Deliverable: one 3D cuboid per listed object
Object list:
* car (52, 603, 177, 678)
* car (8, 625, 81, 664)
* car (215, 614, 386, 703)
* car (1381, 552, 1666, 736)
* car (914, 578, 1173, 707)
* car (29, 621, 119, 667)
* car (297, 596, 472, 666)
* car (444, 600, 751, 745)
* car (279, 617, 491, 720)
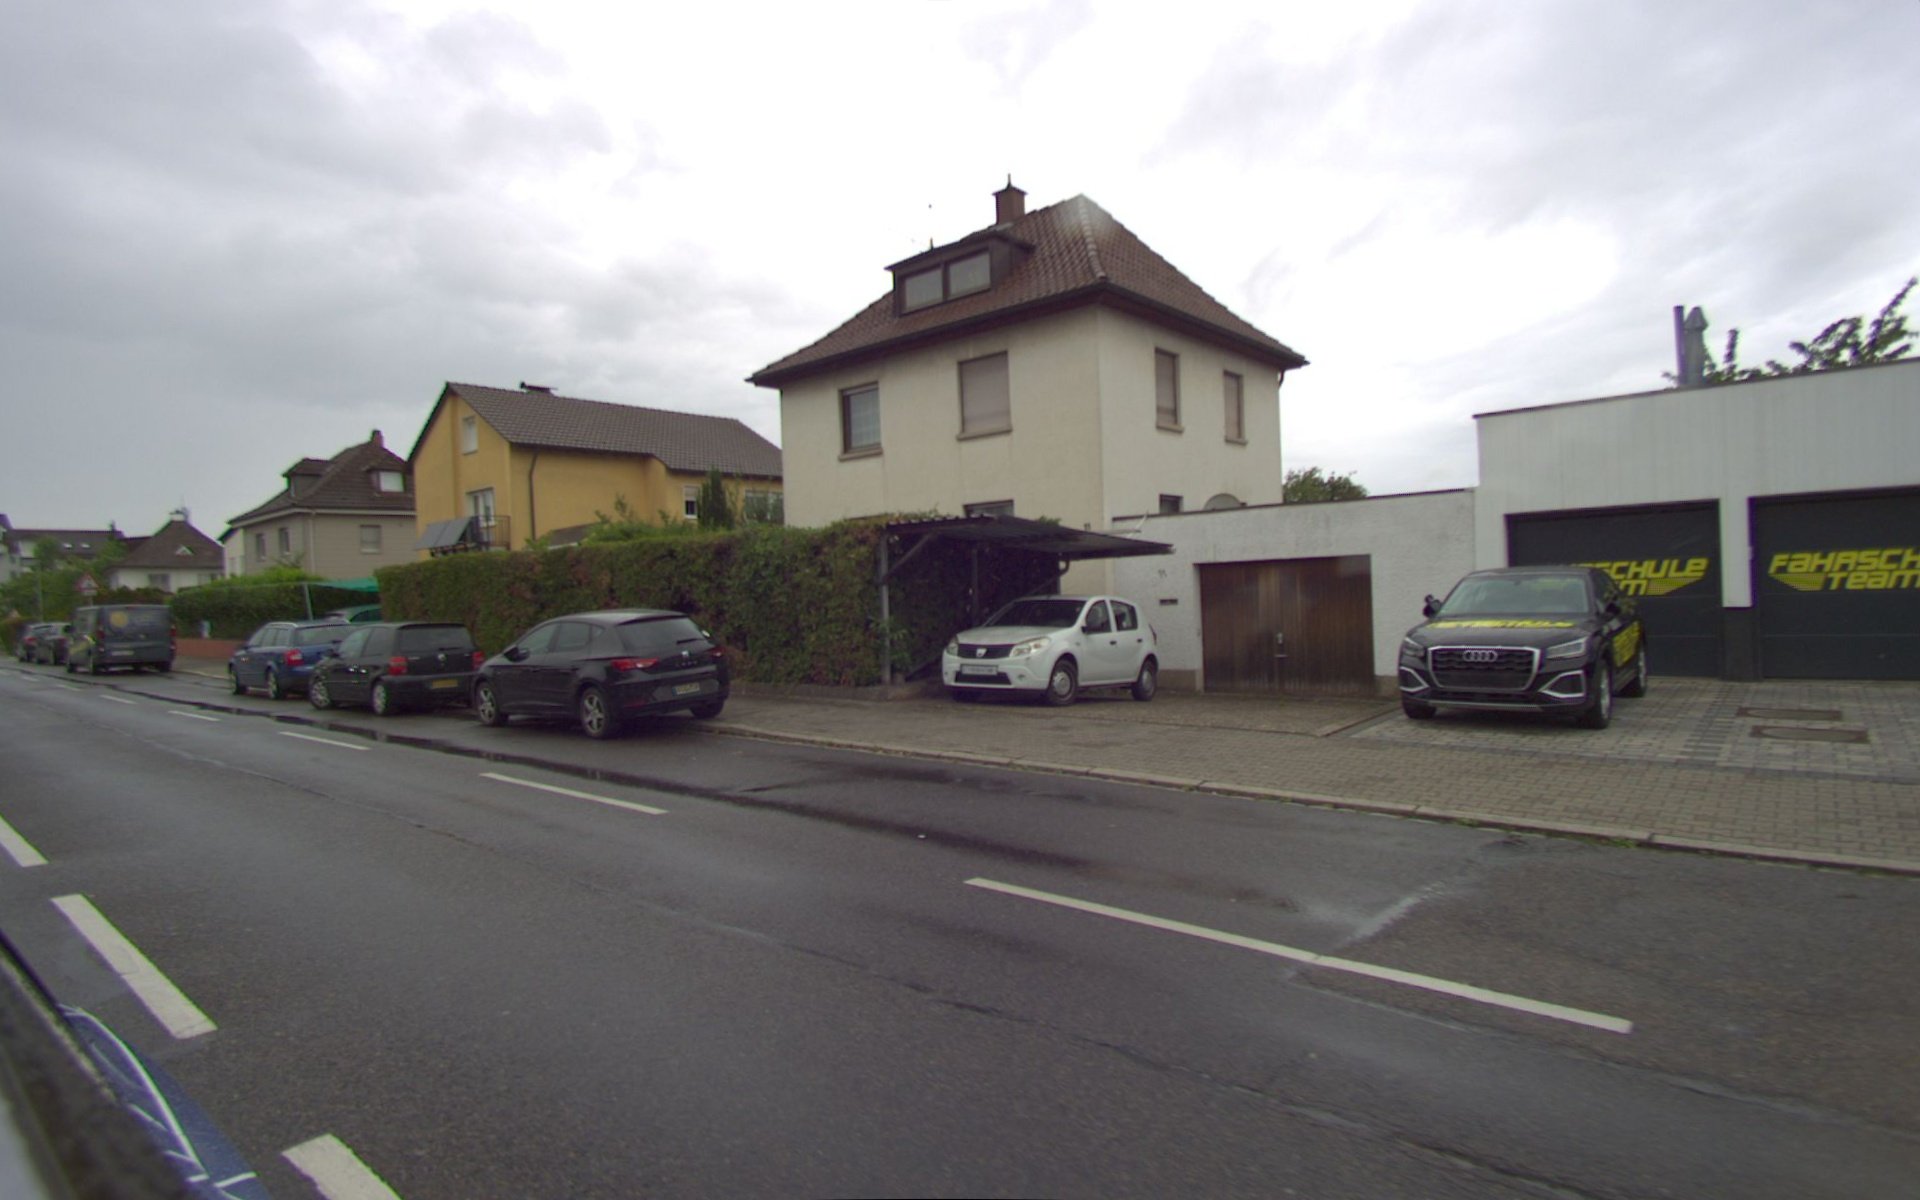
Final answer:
[{"bbox_3d":[-25.269,1.151,30.173,5.082,2.018,1.894,-1,0,39],"label":"car"},{"bbox_3d":[-37.374,1.789,41.293,4.127,1.450,1.732,-1,0,41],"label":"car"},{"bbox_3d":[-13.252,1.104,20.228,4.284,1.544,1.739,-1,0,41],"label":"car"},{"bbox_3d":[6.069,0.319,10.676,1.855,1.527,3.946,-1,1,41],"label":"car"},{"bbox_3d":[1.310,0.622,14.163,1.852,1.527,3.951,-1,-4,36],"label":"car"},{"bbox_3d":[-32.517,1.579,37.116,4.522,1.528,1.733,-1,0,39],"label":"car"},{"bbox_3d":[-16.585,0.850,29.311,1.918,1.625,3.919,-1,3,41],"label":"car"},{"bbox_3d":[-4.761,0.830,13.040,4.203,1.544,1.741,-1,0,38],"label":"car"},{"bbox_3d":[-9.447,1.040,16.508,4.008,1.442,1.537,-1,0,37],"label":"car"}]
